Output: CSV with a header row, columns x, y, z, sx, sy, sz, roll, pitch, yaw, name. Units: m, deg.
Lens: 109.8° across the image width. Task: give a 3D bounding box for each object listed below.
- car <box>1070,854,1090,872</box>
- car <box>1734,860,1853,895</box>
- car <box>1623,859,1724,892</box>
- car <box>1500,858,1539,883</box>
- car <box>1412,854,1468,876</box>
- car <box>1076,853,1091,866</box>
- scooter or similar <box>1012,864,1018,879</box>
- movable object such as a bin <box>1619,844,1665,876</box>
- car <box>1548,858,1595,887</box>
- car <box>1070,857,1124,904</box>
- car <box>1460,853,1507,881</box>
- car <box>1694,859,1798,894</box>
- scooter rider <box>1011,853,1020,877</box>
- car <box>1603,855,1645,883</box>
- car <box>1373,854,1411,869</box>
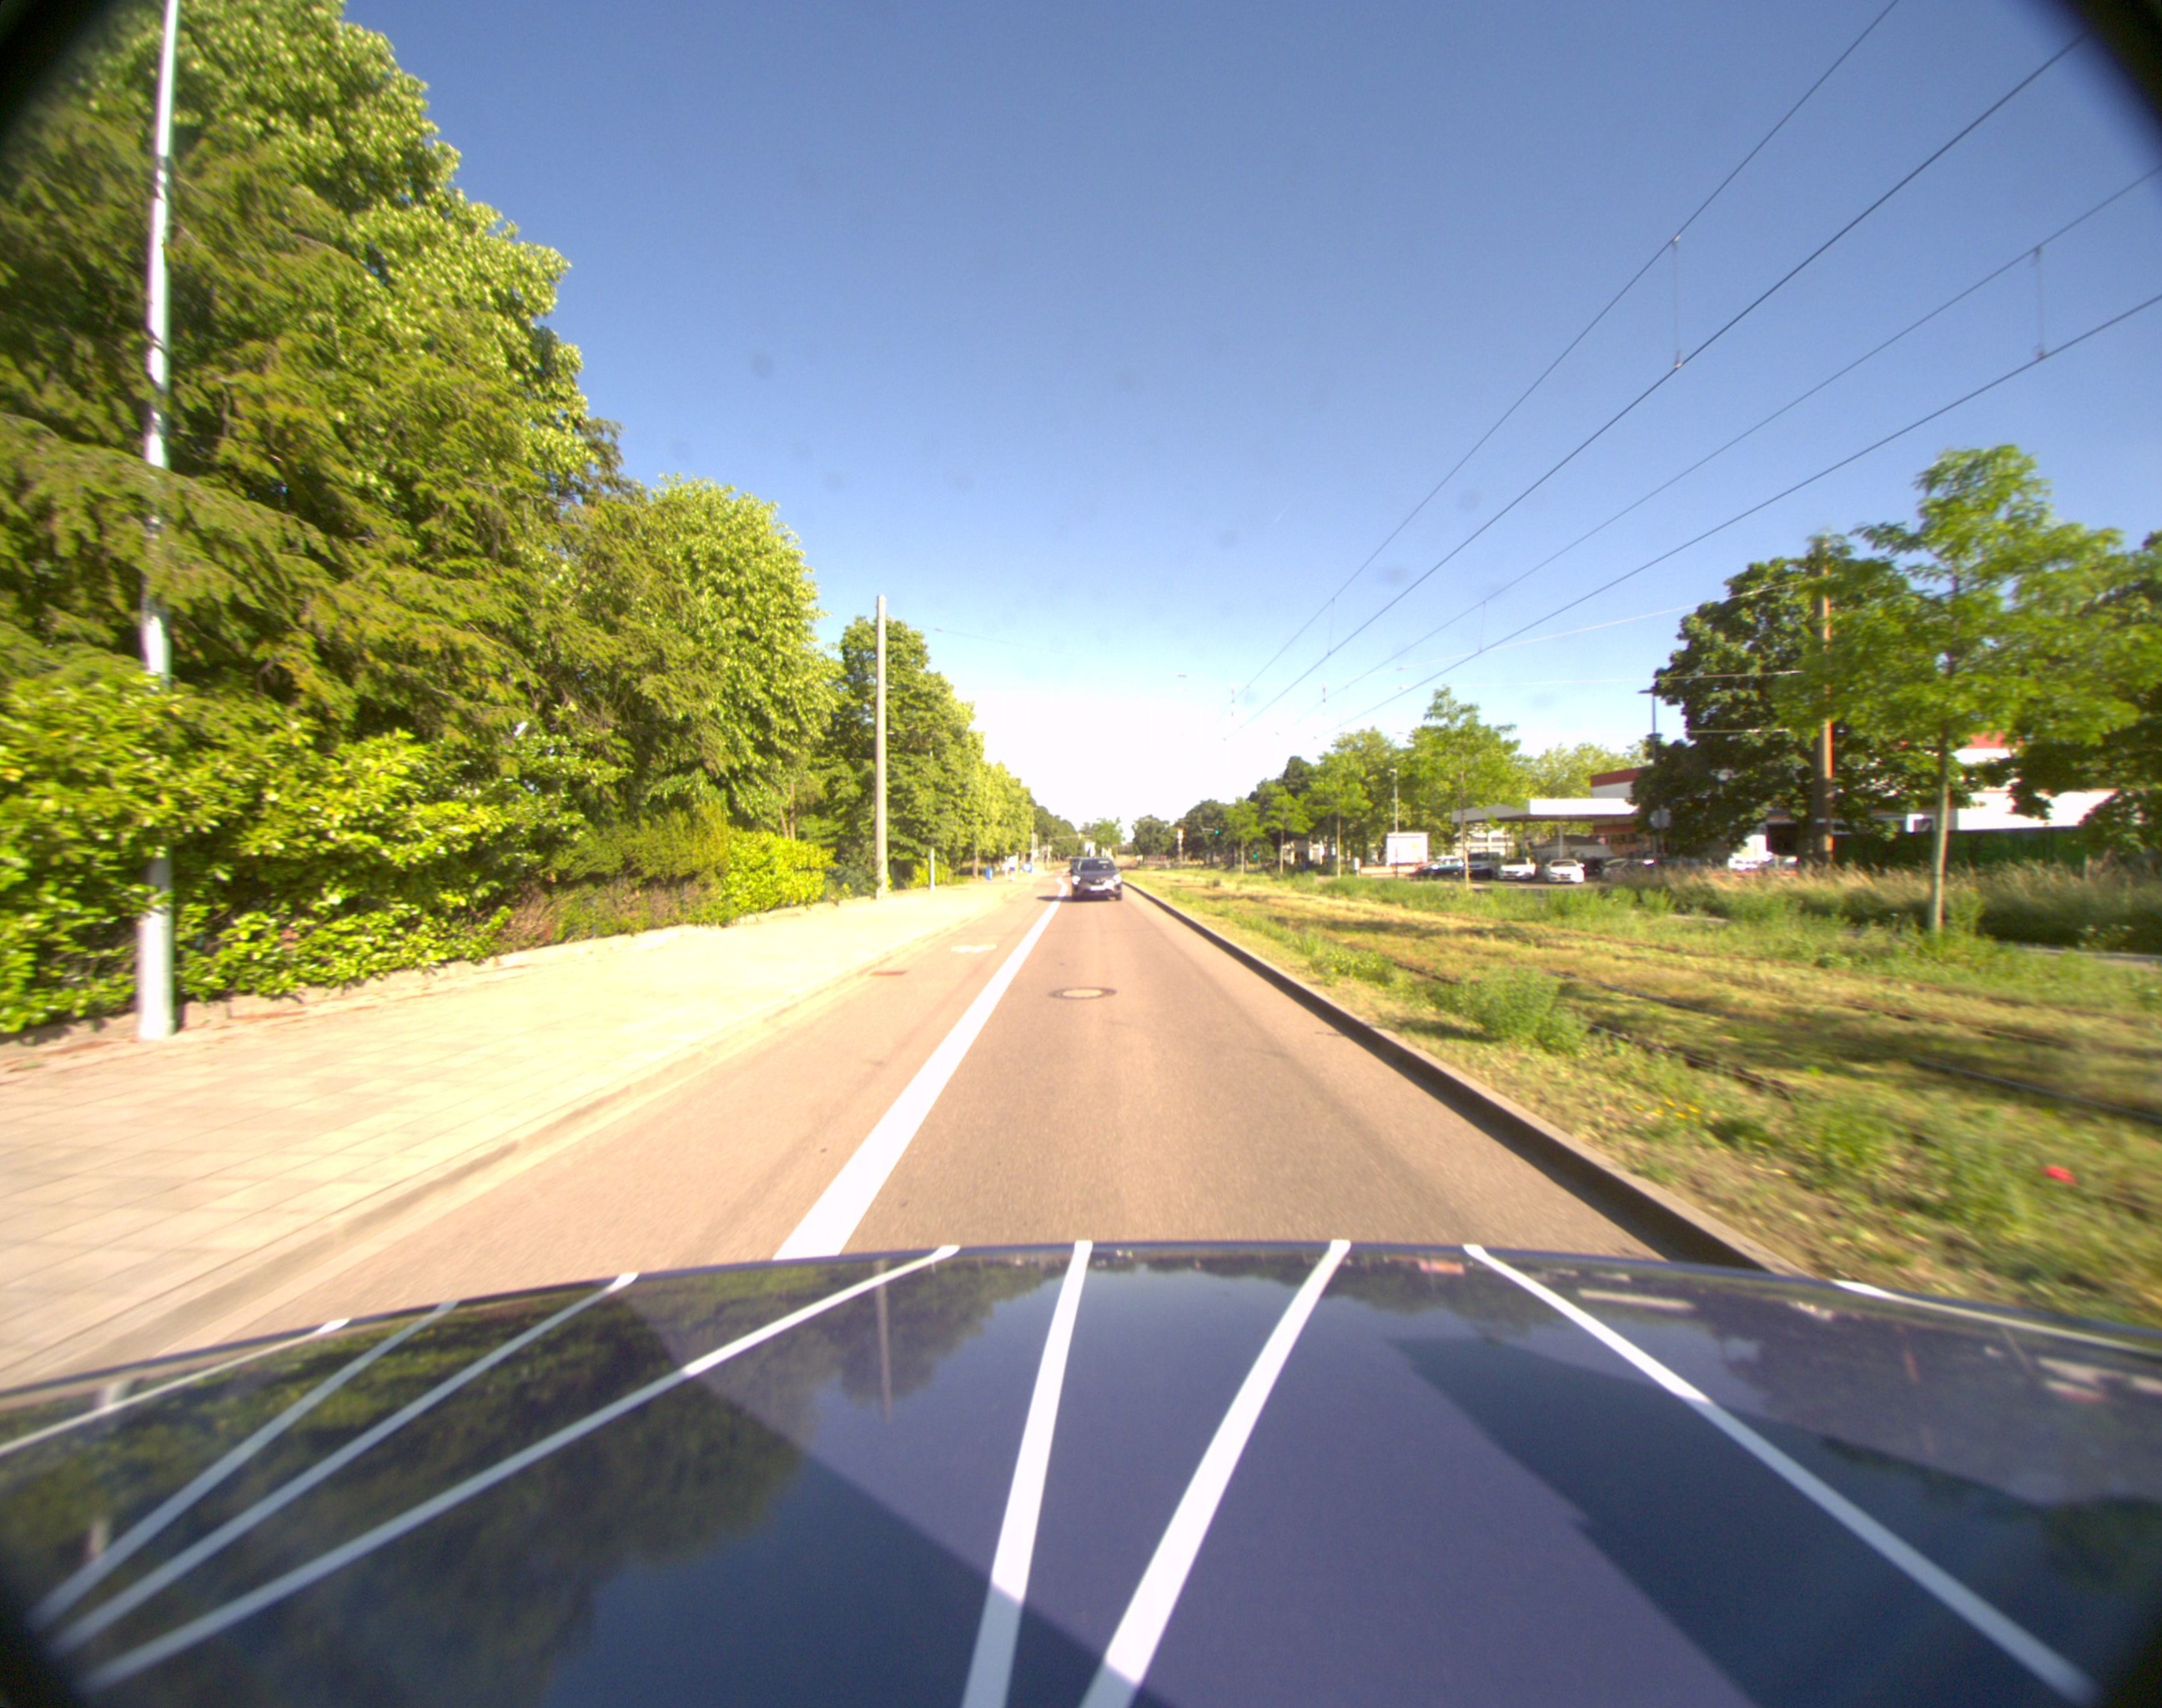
x,y,z,sx,sy,sz,roll,pitch,yaw,name
-0.047,0.967,81.660,1.998,1.824,4.000,-2,1,1,car
32.829,1.080,35.067,3.827,1.500,1.705,-1,0,1,car
28.853,1.029,37.042,3.711,1.503,1.641,0,0,-3,car
28.726,1.061,49.684,1.712,1.416,4.466,-1,0,37,car
31.686,0.957,67.146,3.996,1.846,2.001,-2,0,3,car
0.345,0.738,111.221,1.998,1.824,4.000,-2,1,1,car
-4.881,1.290,55.960,0.349,1.130,1.208,0,0,-1,scooter or similar
24.716,0.265,33.502,1.227,1.361,1.121,-1,1,-3,movable object such as a bin
29.466,1.078,45.786,2.022,1.499,4.898,0,1,28,car
0.552,0.931,28.541,1.867,1.614,4.000,-1,0,-1,car
28.696,0.891,54.086,1.893,1.899,4.821,-1,-1,41,car
33.064,1.095,37.838,3.755,1.624,1.705,-1,0,-3,car
-4.847,0.816,56.151,0.552,1.756,0.599,-1,0,-1,scooter rider
32.301,0.849,45.135,1.845,1.499,3.999,1,2,38,car
40.075,0.980,97.864,4.051,1.816,1.999,-2,1,-2,car
